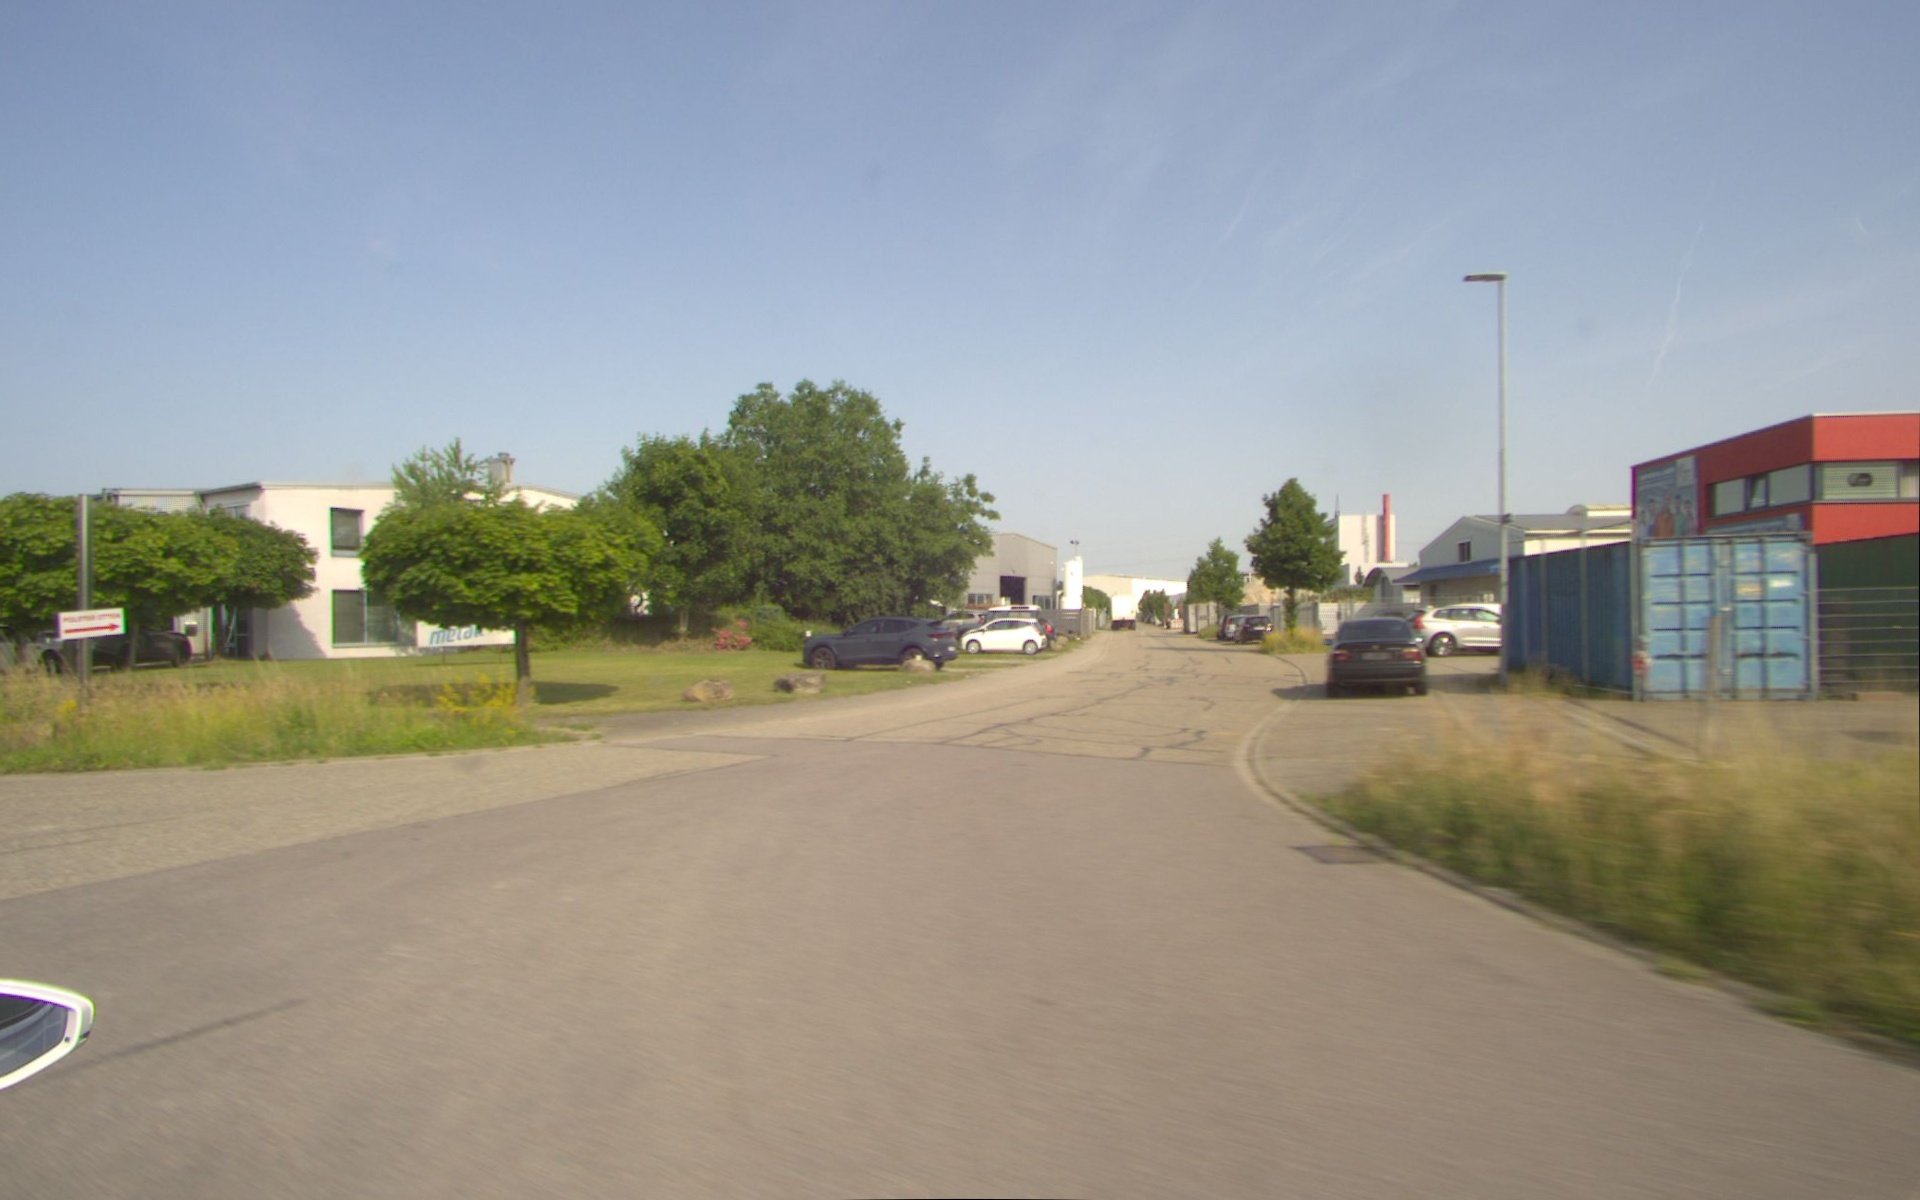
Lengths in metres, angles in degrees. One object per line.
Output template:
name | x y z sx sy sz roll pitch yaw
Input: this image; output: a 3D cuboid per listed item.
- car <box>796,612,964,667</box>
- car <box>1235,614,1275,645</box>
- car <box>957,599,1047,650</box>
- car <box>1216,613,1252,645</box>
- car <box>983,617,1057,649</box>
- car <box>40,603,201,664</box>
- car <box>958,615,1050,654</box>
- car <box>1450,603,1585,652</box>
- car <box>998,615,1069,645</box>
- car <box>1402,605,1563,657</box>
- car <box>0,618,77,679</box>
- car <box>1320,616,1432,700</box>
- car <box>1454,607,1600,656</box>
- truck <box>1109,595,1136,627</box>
car | -2.198 1.064 27.735 4.269 1.427 1.784 -1 0 18
car | 15.559 1.543 52.946 1.800 1.542 3.586 -1 0 13
car | 1.851 1.051 44.025 3.638 1.983 1.684 3 2 13
car | 16.334 1.708 59.706 1.963 1.751 3.995 2 0 16
car | 2.799 1.514 46.414 3.256 1.427 1.561 0 0 13
car | -24.067 0.989 28.931 1.656 1.609 4.531 1 -2 -13
car | 1.767 1.395 40.202 3.453 1.469 1.562 -2 -1 13
car | 21.007 1.038 37.873 4.127 1.821 1.714 -1 0 11
car | 3.615 1.459 49.165 3.256 1.427 1.561 0 0 13
car | 17.148 1.023 33.056 4.382 1.654 1.786 -1 0 11
car | -23.326 1.145 23.847 1.655 1.398 3.696 0 0 -8
car | 8.038 1.062 19.618 1.780 1.427 4.463 -2 -1 20
car | 20.007 1.112 35.502 4.127 1.654 1.786 -1 0 11
truck | 18.351 1.282 112.981 2.491 3.415 7.672 0 -1 13
